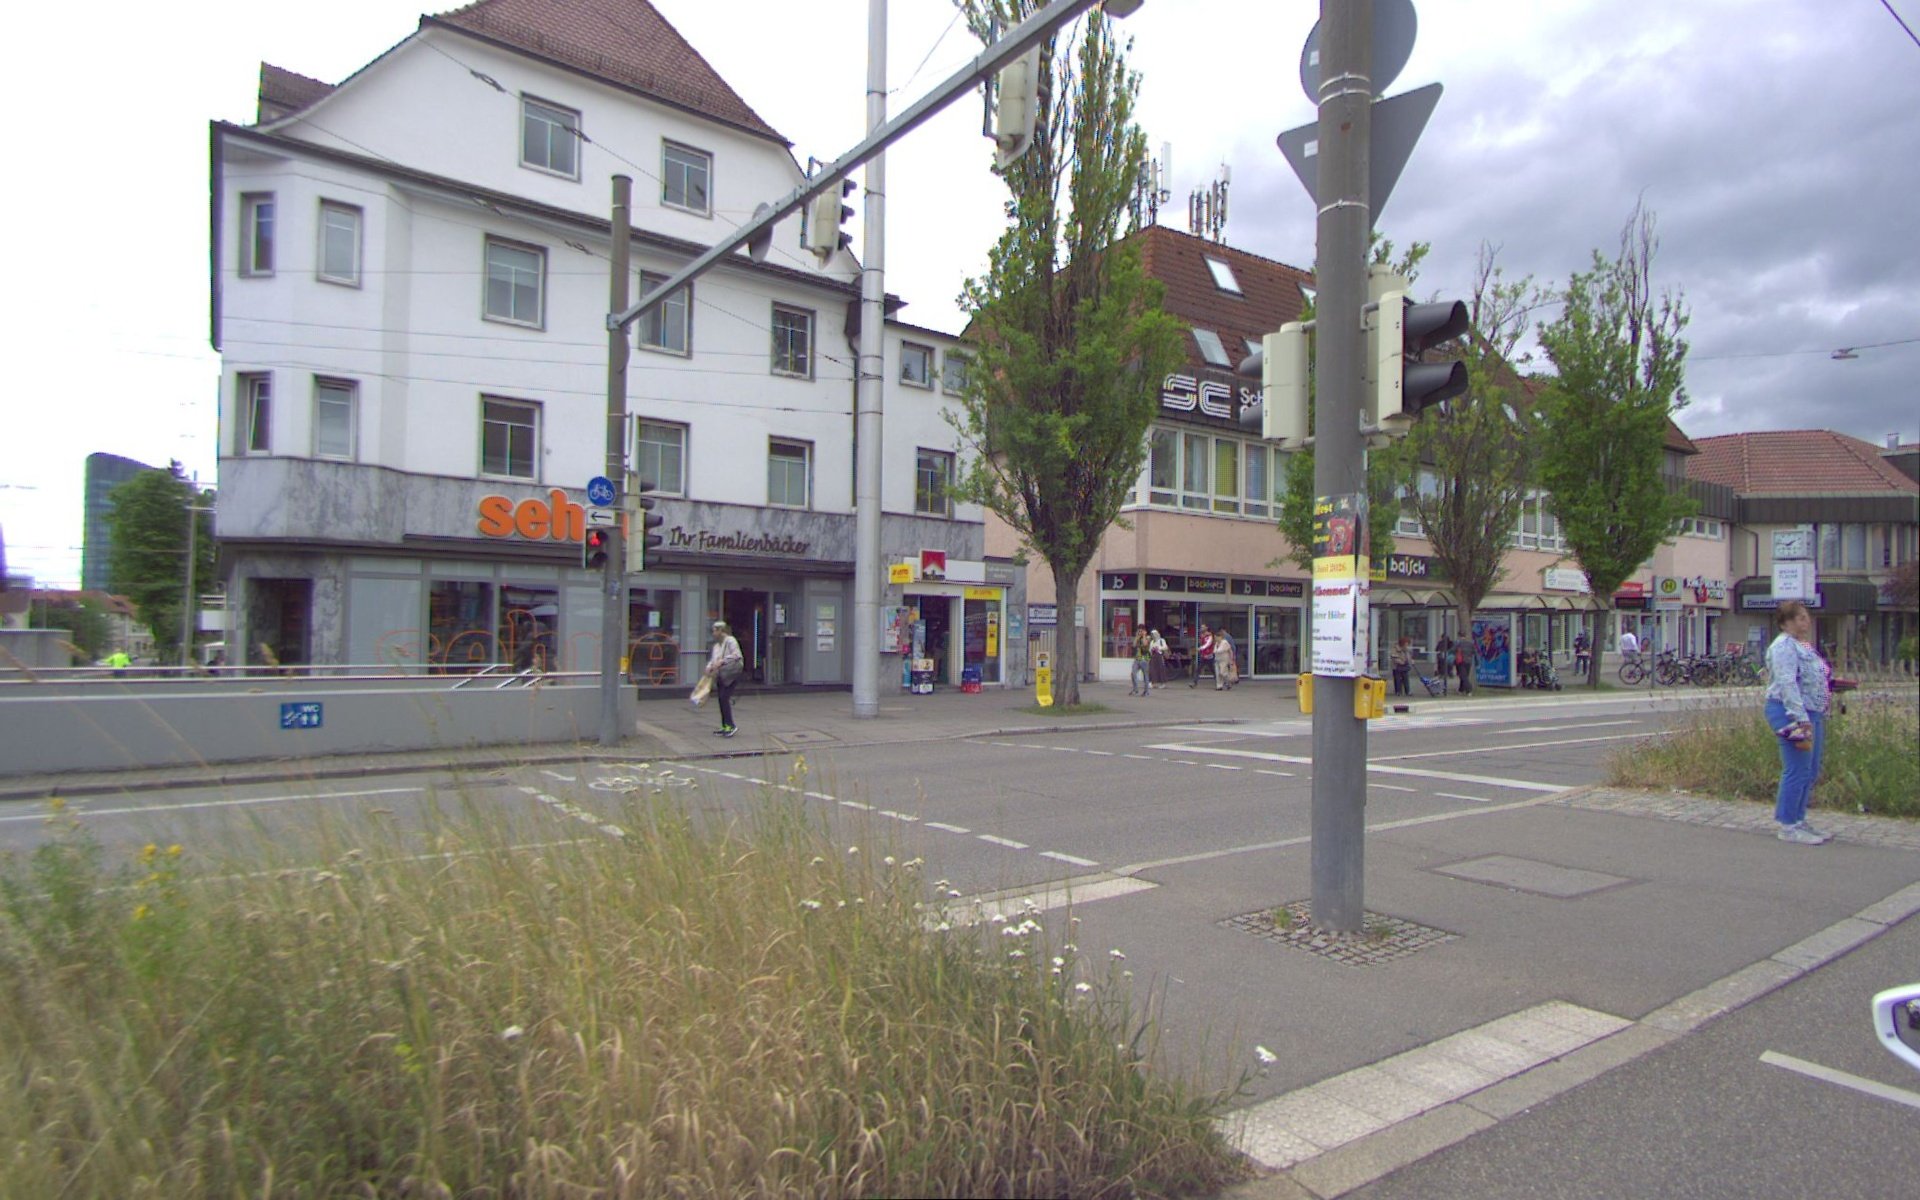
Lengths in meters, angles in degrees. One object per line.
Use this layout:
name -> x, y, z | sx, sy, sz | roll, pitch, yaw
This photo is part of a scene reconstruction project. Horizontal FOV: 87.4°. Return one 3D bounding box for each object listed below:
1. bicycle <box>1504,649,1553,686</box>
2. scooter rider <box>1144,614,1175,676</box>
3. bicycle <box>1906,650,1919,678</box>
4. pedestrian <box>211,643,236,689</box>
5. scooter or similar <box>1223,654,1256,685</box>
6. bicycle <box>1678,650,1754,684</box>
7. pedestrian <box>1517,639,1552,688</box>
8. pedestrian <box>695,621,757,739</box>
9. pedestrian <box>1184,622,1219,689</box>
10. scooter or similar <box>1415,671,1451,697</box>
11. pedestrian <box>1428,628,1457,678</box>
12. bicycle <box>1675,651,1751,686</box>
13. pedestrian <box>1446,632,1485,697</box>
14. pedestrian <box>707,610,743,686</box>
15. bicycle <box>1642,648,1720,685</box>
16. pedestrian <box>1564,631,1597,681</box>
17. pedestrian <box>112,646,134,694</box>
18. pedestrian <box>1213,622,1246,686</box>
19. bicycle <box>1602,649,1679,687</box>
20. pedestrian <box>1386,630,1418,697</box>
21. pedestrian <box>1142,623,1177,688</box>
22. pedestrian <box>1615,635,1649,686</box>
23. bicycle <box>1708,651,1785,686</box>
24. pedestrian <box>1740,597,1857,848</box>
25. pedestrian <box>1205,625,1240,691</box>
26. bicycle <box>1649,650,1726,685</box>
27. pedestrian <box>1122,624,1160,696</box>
bicycle -> 17.680, 2.076, 31.235 | 1.911, 1.105, 0.530 | 2, -1, -34
scooter rider -> 5.795, 1.302, 29.210 | 0.582, 1.735, 0.609 | 1, 2, -34
bicycle -> 39.154, 2.592, 40.094 | 0.644, 1.105, 2.001 | 2, -2, -40
pedestrian -> -27.542, 2.468, 37.545 | 0.578, 1.656, 0.612 | 3, 2, 38
scooter or similar -> 7.951, 1.964, 28.560 | 0.695, 0.860, 0.589 | 1, -1, -32
bicycle -> 25.972, 2.286, 34.533 | 0.644, 1.105, 2.001 | 2, -2, -40
pedestrian -> 17.115, 1.882, 29.919 | 0.581, 1.382, 0.708 | 1, 0, -29
pedestrian -> -3.491, 1.167, 14.968 | 0.610, 1.656, 0.693 | 1, 2, -42
pedestrian -> 6.422, 1.461, 26.729 | 0.608, 1.735, 0.582 | 1, 2, -33
scooter or similar -> 12.247, 2.170, 26.010 | 0.695, 0.609, 0.589 | 1, -1, -32
pedestrian -> 16.360, 1.790, 34.067 | 0.608, 1.656, 0.582 | 1, 2, -33
bicycle -> 25.479, 2.297, 34.015 | 0.644, 1.105, 2.001 | 2, -2, -40
pedestrian -> 13.305, 1.686, 26.461 | 0.703, 1.674, 0.585 | 1, 0, -21
pedestrian -> -5.295, 1.074, 22.653 | 0.582, 1.656, 0.609 | 1, 2, -33
bicycle -> 23.567, 2.149, 32.861 | 0.643, 1.105, 2.004 | 2, -1, -35
pedestrian -> 23.034, 2.084, 37.282 | 0.747, 1.788, 0.721 | 1, 2, -33
pedestrian -> -30.328, 2.526, 36.404 | 0.582, 1.656, 0.608 | 1, 2, -37
pedestrian -> 7.520, 1.507, 28.063 | 0.608, 1.735, 0.582 | 1, 2, -33
bicycle -> 22.386, 2.217, 33.059 | 0.645, 1.105, 1.997 | 2, -1, -44
pedestrian -> 11.483, 1.632, 26.092 | 0.579, 1.674, 0.710 | 1, 0, 41
pedestrian -> 5.302, 1.470, 26.714 | 0.608, 1.656, 0.582 | 1, 2, -33
pedestrian -> 24.300, 2.182, 36.343 | 0.747, 1.788, 0.721 | 1, 2, -33
bicycle -> 27.001, 2.320, 34.517 | 0.644, 1.105, 2.001 | 2, -2, -40
pedestrian -> 5.874, 0.821, 7.037 | 0.657, 1.656, 0.499 | 1, -1, -38
pedestrian -> 6.856, 1.508, 26.233 | 0.608, 1.656, 0.582 | 1, 2, -33
bicycle -> 24.329, 2.242, 33.617 | 0.644, 1.105, 2.001 | 2, -2, -40
pedestrian -> 4.346, 1.426, 24.131 | 0.608, 1.656, 0.582 | 1, 2, -33
